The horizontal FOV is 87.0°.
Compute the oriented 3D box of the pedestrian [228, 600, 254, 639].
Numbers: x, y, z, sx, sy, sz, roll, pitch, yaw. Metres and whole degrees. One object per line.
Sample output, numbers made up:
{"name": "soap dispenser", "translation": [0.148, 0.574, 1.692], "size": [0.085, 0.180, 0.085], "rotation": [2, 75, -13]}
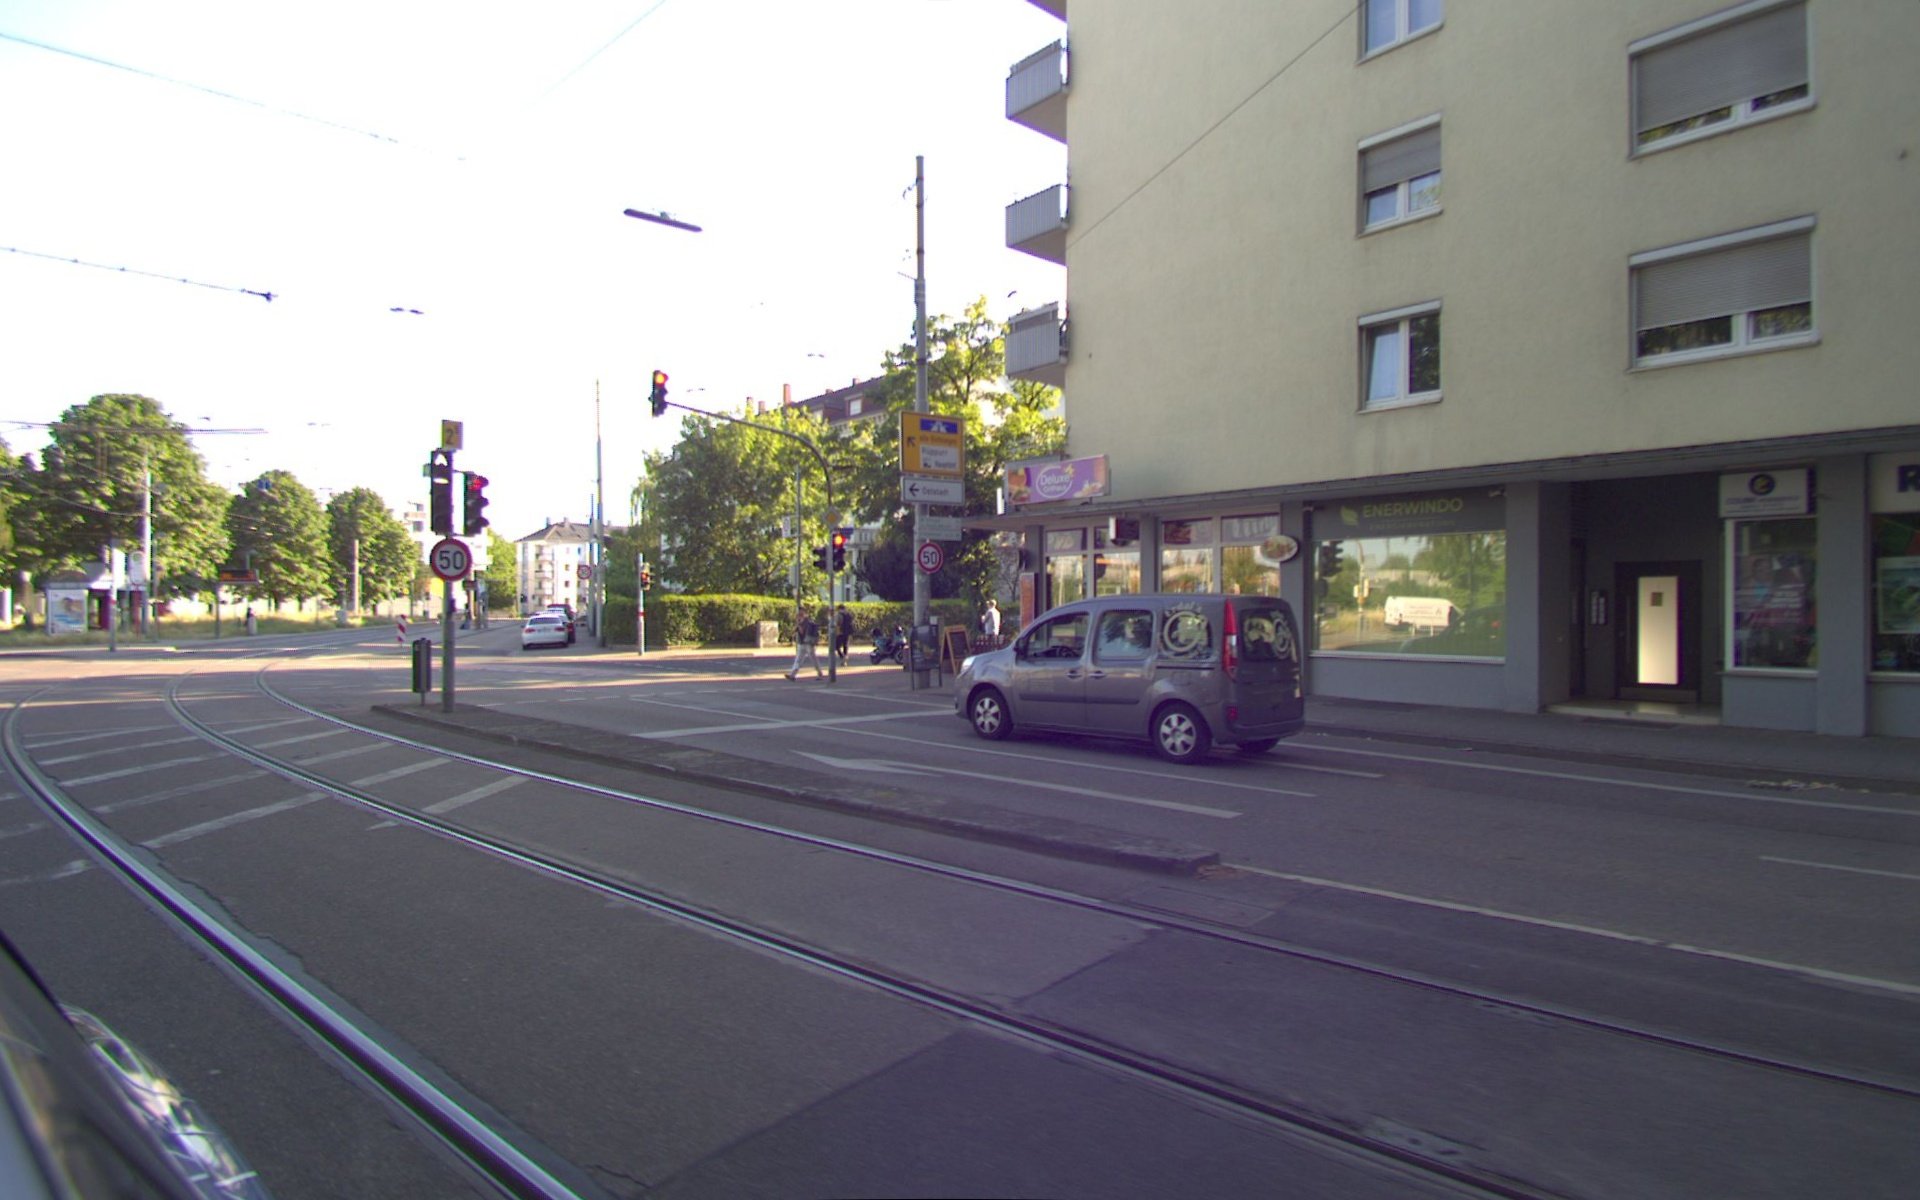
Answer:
{"name": "pedestrian", "translation": [-38.605, 1.040, 54.305], "size": [0.858, 2.029, 0.902], "rotation": [-1, -1, 36]}

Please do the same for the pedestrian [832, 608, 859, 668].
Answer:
{"name": "pedestrian", "translation": [-3.125, 1.028, 27.586], "size": [0.545, 1.589, 0.466], "rotation": [-1, 0, 41]}

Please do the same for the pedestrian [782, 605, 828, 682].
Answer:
{"name": "pedestrian", "translation": [-3.495, 0.976, 22.821], "size": [0.742, 1.693, 0.795], "rotation": [1, -1, -35]}

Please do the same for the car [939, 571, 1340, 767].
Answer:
{"name": "car", "translation": [1.942, 0.703, 11.756], "size": [4.225, 1.846, 1.971], "rotation": [-1, -2, 44]}

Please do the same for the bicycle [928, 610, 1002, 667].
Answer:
{"name": "bicycle", "translation": [0.138, 1.125, 30.457], "size": [2.311, 1.648, 0.772], "rotation": [-1, -1, 42]}

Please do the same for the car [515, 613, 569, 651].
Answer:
{"name": "car", "translation": [-17.416, 1.308, 42.290], "size": [1.787, 1.439, 3.752], "rotation": [-2, -1, -18]}

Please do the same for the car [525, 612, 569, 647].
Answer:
{"name": "car", "translation": [-21.532, 1.516, 52.868], "size": [1.787, 1.707, 3.994], "rotation": [-2, -1, -18]}

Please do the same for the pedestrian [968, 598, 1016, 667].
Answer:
{"name": "pedestrian", "translation": [0.883, 0.882, 27.832], "size": [1.030, 1.829, 0.824], "rotation": [-1, -1, 41]}

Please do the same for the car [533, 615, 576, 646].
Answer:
{"name": "car", "translation": [-18.740, 1.418, 46.899], "size": [1.614, 1.333, 3.349], "rotation": [-2, -1, -18]}

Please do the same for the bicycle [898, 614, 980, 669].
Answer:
{"name": "bicycle", "translation": [-0.629, 1.193, 29.672], "size": [2.516, 1.555, 0.834], "rotation": [-1, -1, 42]}

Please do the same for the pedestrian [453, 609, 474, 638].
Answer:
{"name": "pedestrian", "translation": [-34.789, 1.655, 70.904], "size": [0.871, 2.029, 0.994], "rotation": [0, -1, 19]}

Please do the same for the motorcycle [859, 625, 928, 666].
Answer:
{"name": "motorcycle", "translation": [-1.927, 1.295, 29.227], "size": [2.092, 1.140, 0.748], "rotation": [-1, -1, 42]}
